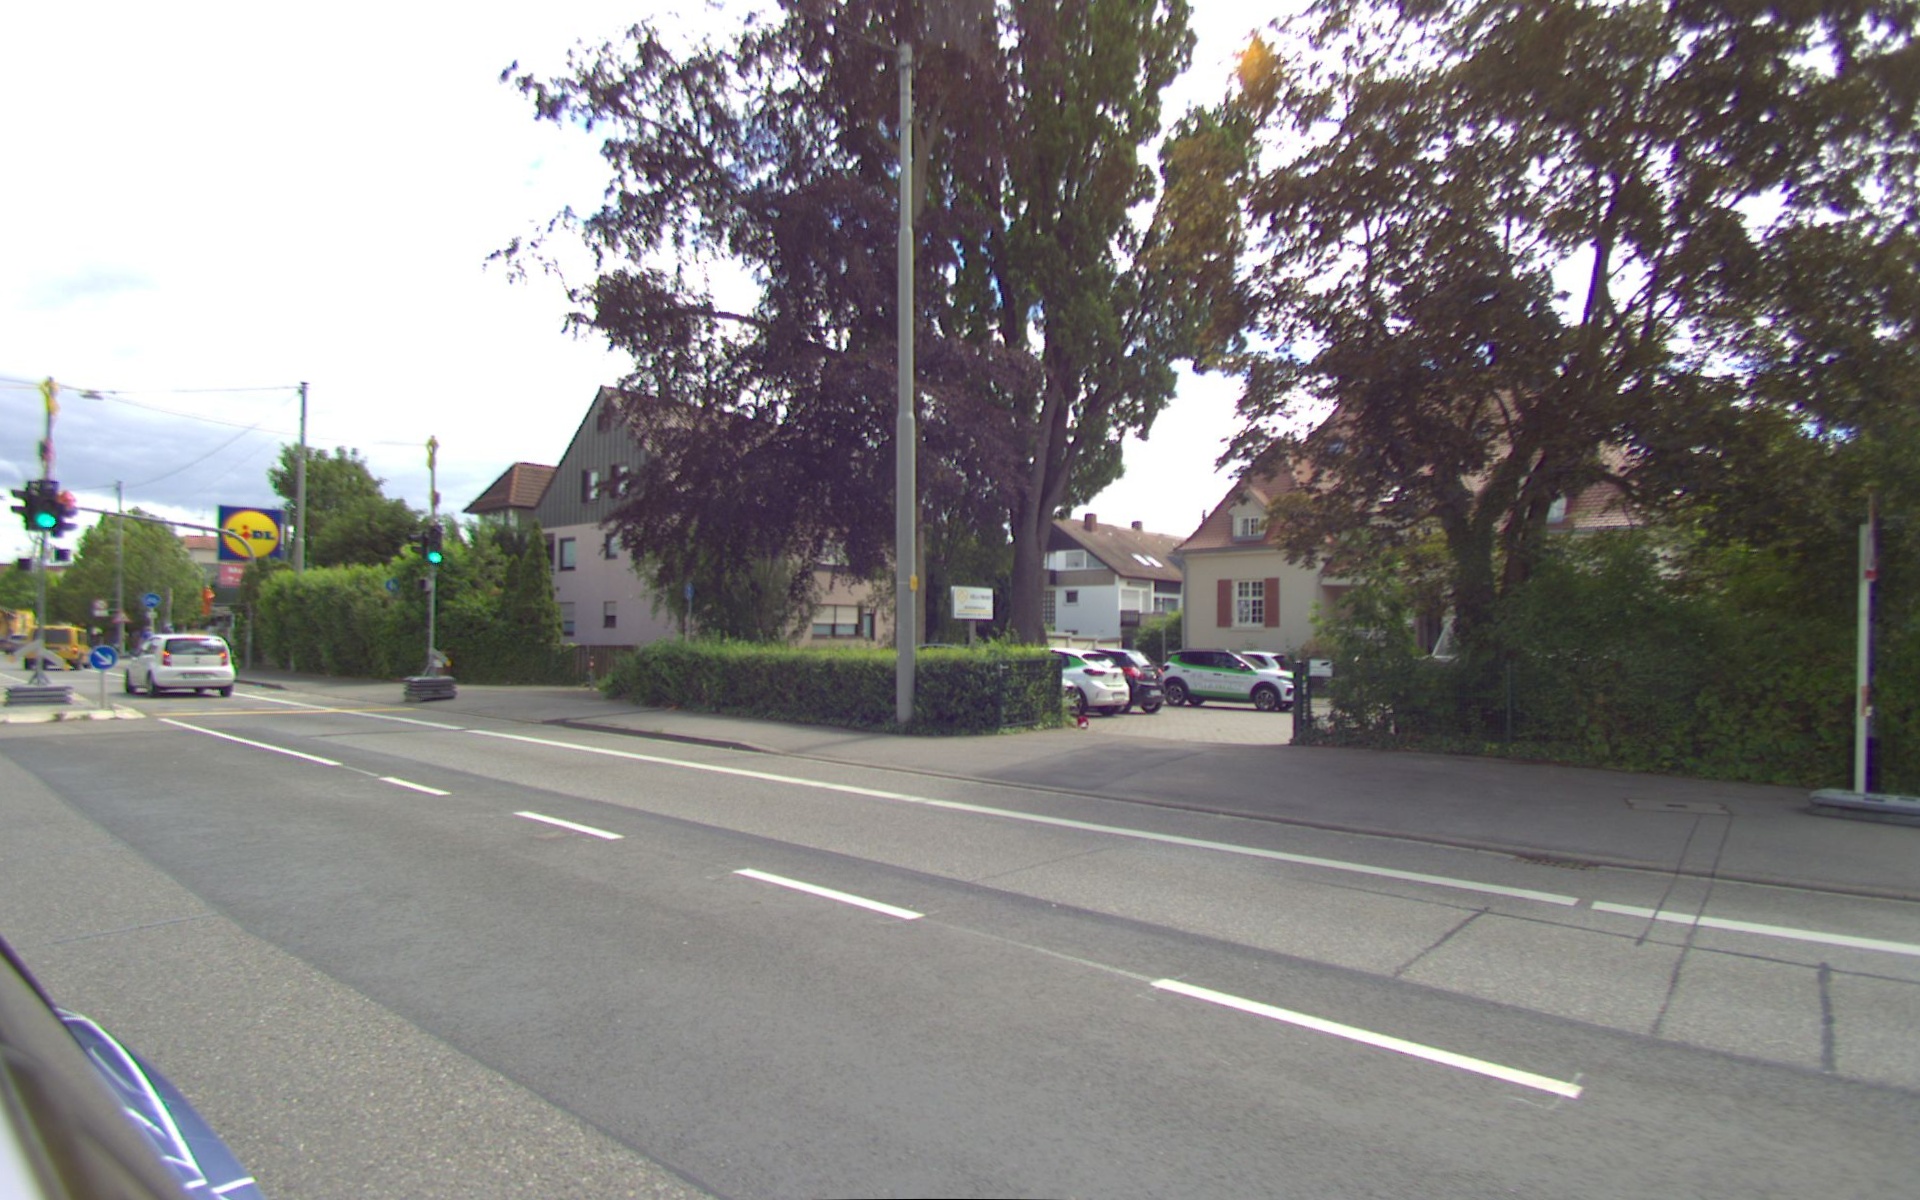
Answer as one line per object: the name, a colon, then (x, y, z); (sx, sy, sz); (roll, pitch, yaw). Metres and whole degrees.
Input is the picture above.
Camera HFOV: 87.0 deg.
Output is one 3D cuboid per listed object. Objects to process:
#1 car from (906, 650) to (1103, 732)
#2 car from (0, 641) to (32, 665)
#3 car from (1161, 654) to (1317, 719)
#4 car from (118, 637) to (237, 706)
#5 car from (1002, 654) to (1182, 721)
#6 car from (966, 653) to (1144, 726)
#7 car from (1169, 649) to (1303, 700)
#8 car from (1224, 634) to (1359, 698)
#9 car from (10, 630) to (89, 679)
car: (0.846, 1.733, 19.828); (3.516, 1.399, 1.646); (-1, -5, 36)
car: (-73.570, 4.093, 78.763); (1.847, 1.629, 4.002); (-1, 0, -45)
car: (7.545, 2.289, 27.454); (3.706, 1.580, 1.816); (-1, -3, 35)
car: (-19.068, 1.717, 24.628); (3.238, 1.530, 1.590); (-1, -5, 41)
car: (3.149, 2.083, 24.452); (3.925, 1.401, 1.784); (-1, -5, 37)
car: (2.067, 1.923, 22.304); (3.517, 1.399, 1.722); (-1, -3, 36)
car: (9.301, 2.467, 34.250); (3.996, 1.479, 1.813); (-1, 0, 40)
car: (11.453, 2.207, 35.068); (3.999, 1.962, 1.972); (-1, 0, 42)
car: (-37.577, 2.218, 41.870); (1.967, 1.797, 4.010); (-1, 0, -35)
